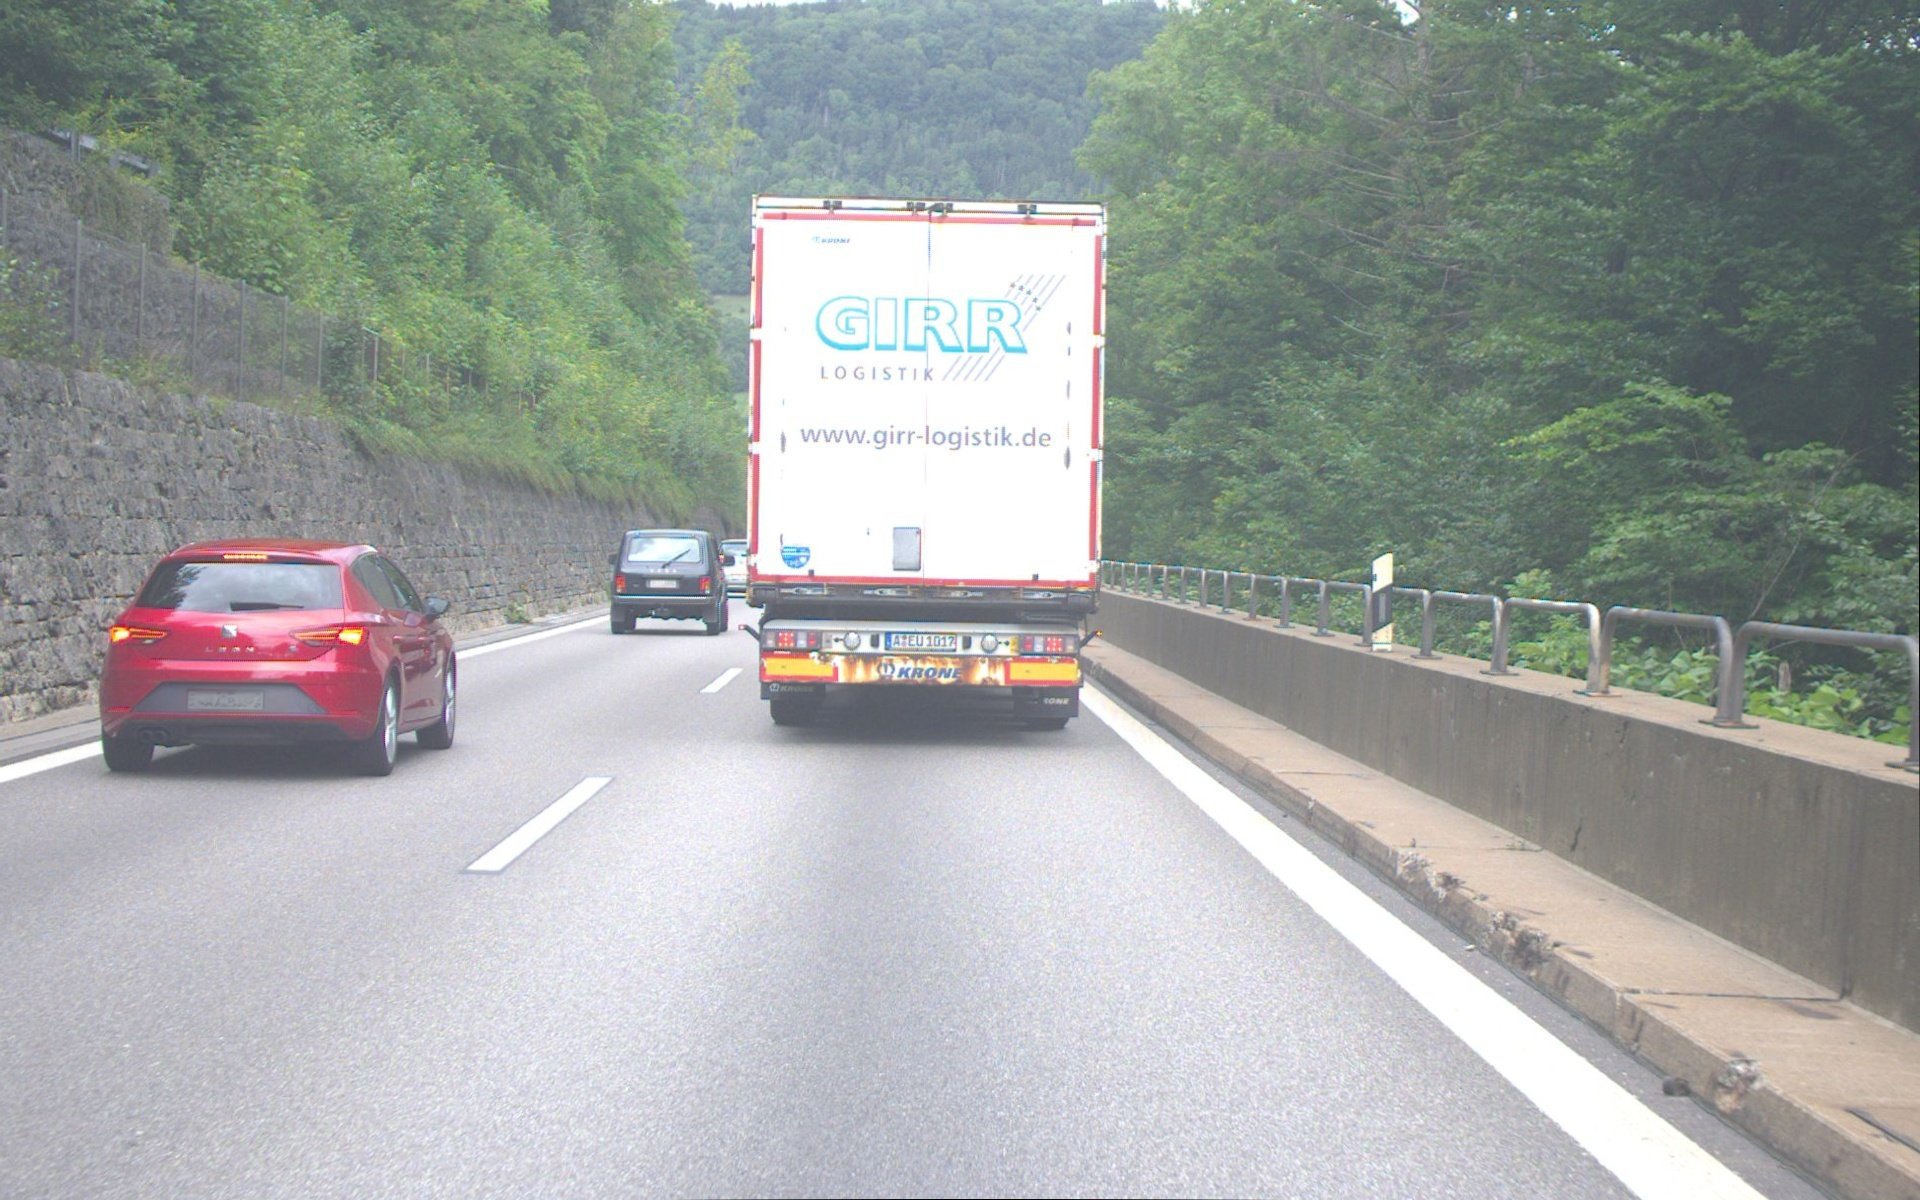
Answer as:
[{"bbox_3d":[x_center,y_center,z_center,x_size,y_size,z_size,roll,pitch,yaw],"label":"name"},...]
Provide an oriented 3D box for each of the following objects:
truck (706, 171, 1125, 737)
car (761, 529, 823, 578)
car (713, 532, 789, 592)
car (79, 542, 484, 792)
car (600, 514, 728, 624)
[{"bbox_3d":[-0.313,-1.084,28.724,2.909,3.947,9.279,0,1,0],"label":"truck"},{"bbox_3d":[-5.603,-1.548,114.893,1.917,1.589,4.179,0,0,-1],"label":"car"},{"bbox_3d":[-5.253,-0.961,86.770,1.729,1.481,4.000,0,0,-1],"label":"car"},{"bbox_3d":[-4.271,0.371,22.310,1.766,1.455,4.411,0,0,0],"label":"car"},{"bbox_3d":[-4.570,-0.483,53.532,1.669,1.633,4.068,0,0,0],"label":"car"}]
